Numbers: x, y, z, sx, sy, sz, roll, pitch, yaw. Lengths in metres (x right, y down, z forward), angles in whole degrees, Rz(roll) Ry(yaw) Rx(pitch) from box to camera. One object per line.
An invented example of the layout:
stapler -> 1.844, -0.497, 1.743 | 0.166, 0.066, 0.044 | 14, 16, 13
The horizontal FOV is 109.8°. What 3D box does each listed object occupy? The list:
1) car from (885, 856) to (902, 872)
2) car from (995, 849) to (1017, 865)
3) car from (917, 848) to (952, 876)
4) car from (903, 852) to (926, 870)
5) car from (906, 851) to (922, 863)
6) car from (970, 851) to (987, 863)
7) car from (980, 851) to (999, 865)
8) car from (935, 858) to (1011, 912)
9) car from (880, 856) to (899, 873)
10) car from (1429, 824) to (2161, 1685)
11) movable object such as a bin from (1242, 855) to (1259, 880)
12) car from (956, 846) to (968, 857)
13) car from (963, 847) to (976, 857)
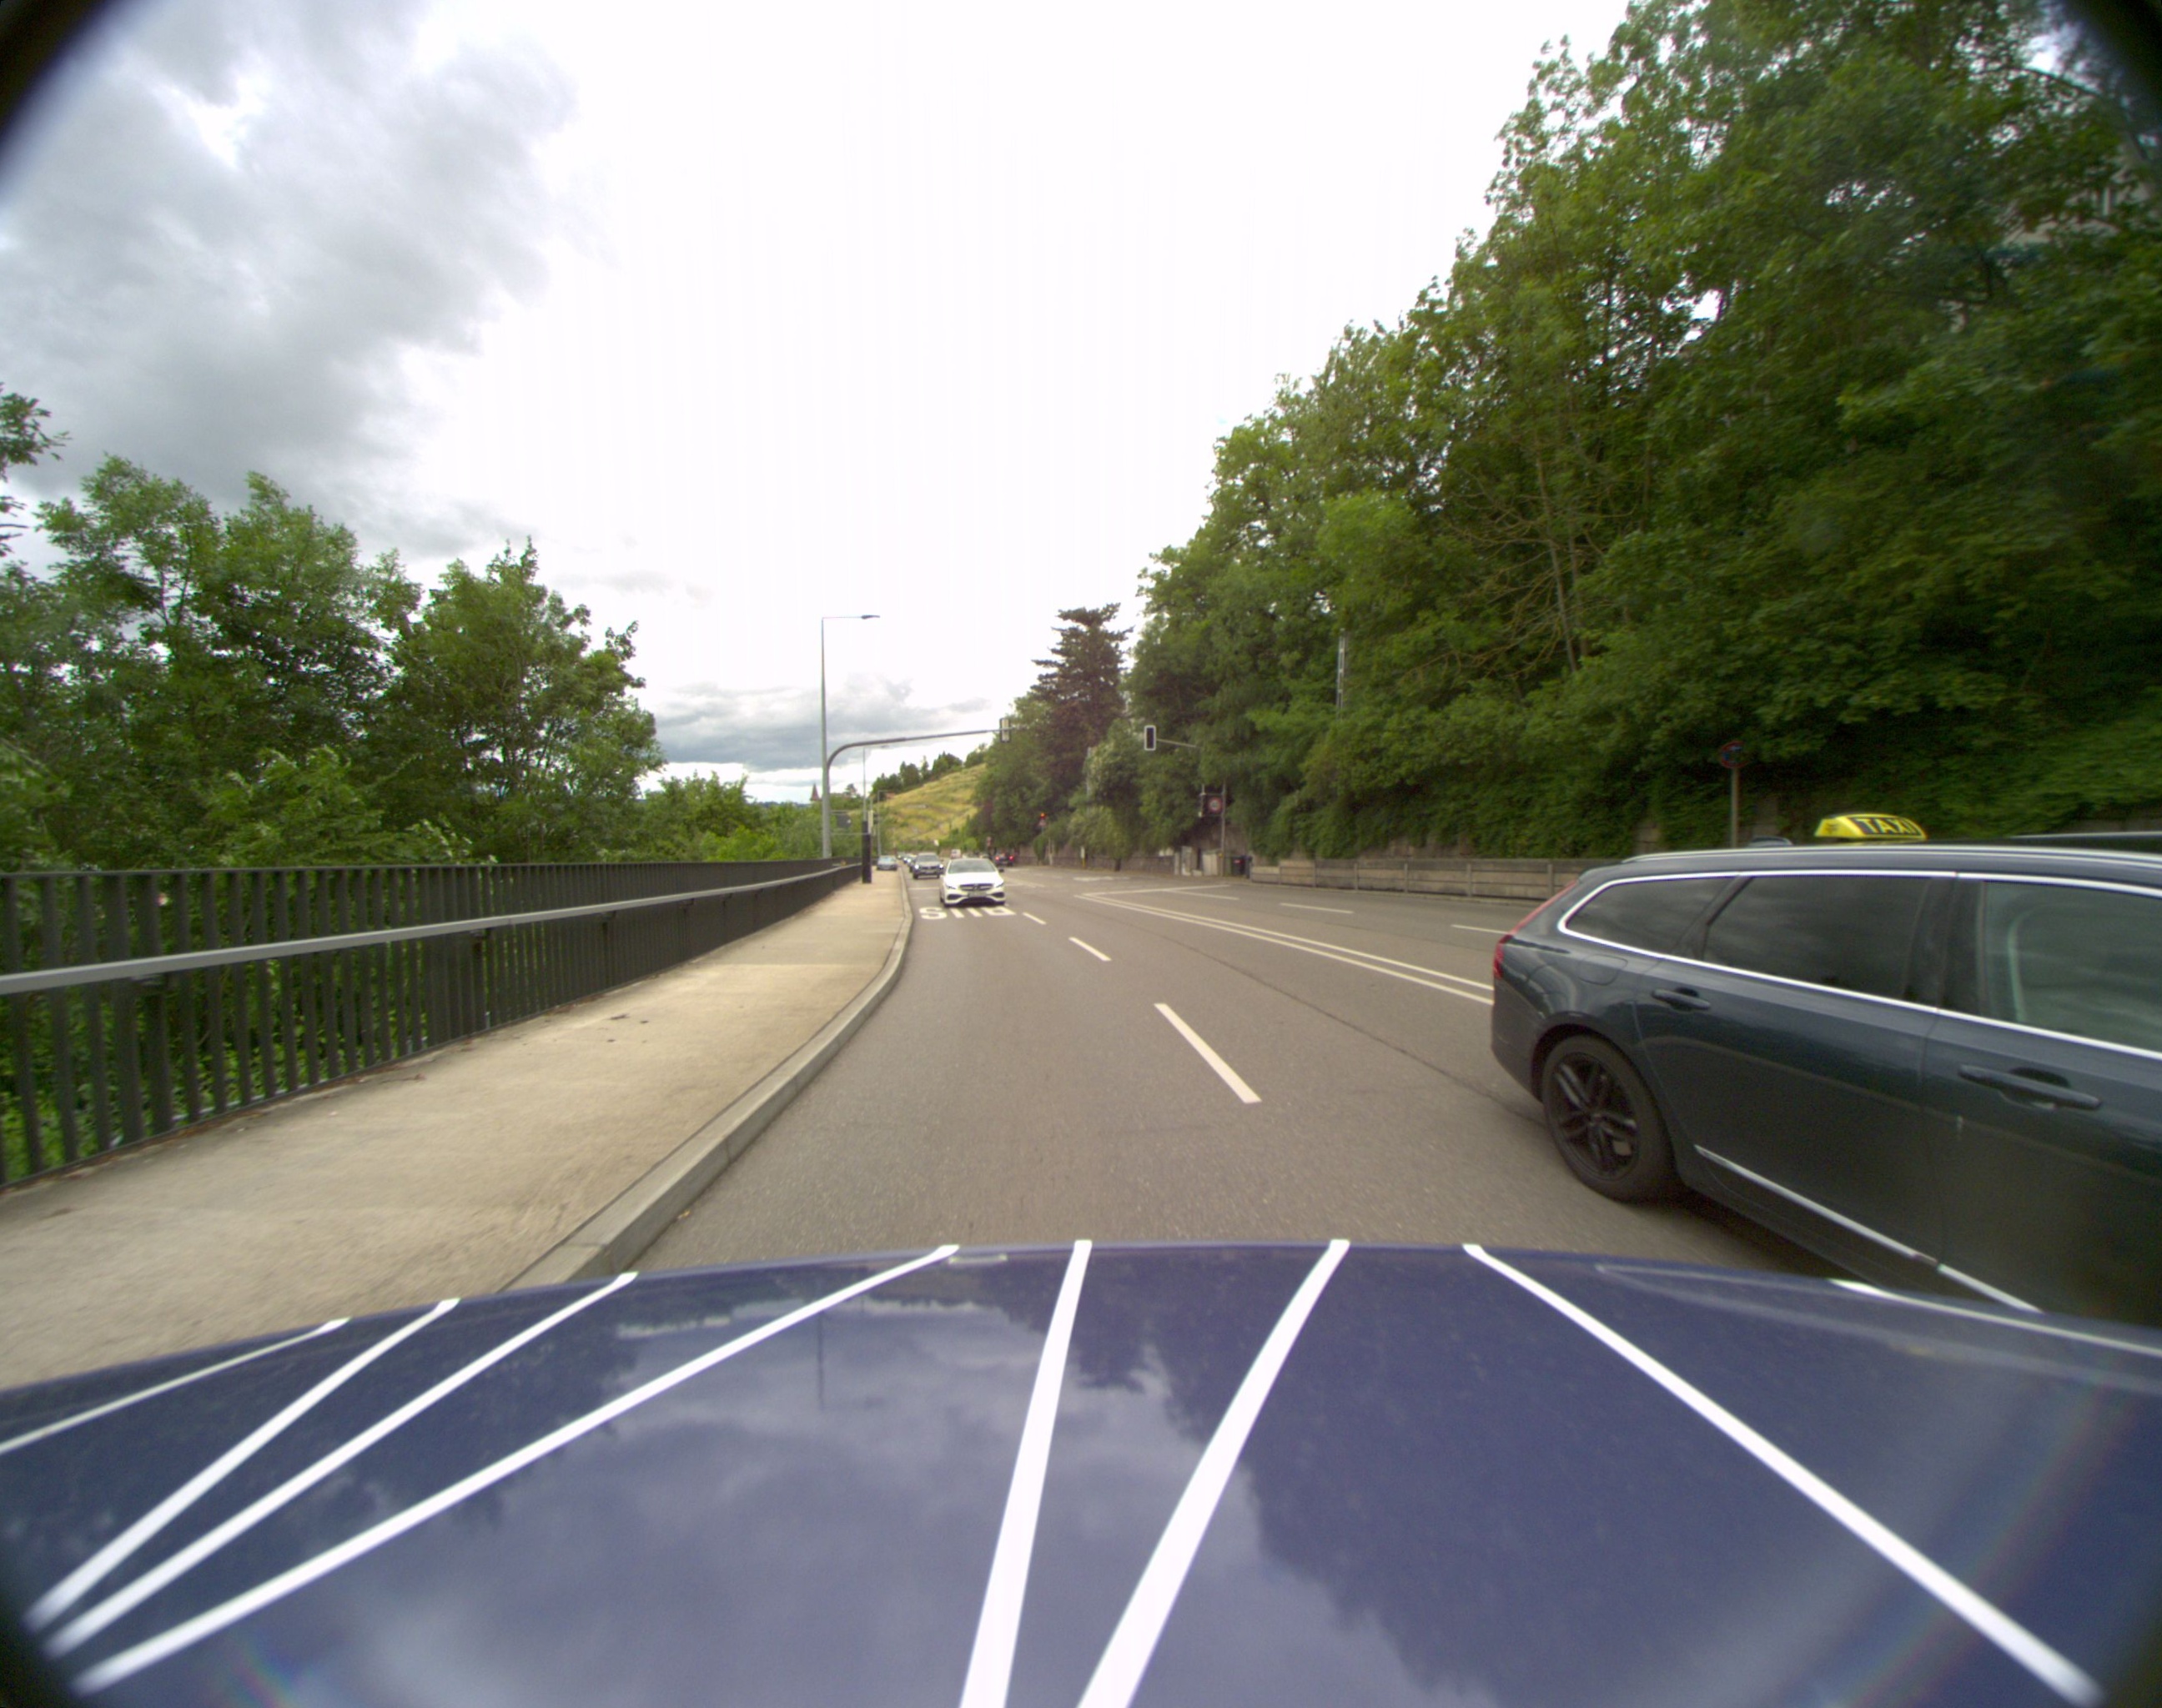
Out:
car -> -19.666, 1.007, 79.872 | 1.733, 1.559, 4.618 | -1, 1, -13
car -> -7.765, 0.305, 78.311 | 1.819, 1.426, 4.243 | -4, 1, -12
car -> -9.399, 0.476, 48.524 | 2.000, 1.580, 3.995 | -4, 1, -12
car -> -15.054, 0.627, 68.720 | 2.001, 1.574, 3.995 | -1, 0, -13
car -> -22.379, 0.384, 101.838 | 2.001, 1.574, 3.995 | -1, 0, -13
car -> -14.828, 0.416, 109.893 | 1.949, 1.540, 4.243 | -1, 1, -13
car -> -11.276, 0.497, 93.722 | 1.787, 1.473, 4.206 | -4, 0, -13
car -> -3.445, 0.910, 23.513 | 1.905, 1.418, 4.261 | -3, 0, -13
car -> -18.432, 0.955, 73.261 | 1.763, 1.535, 4.421 | 1, 0, -13
car -> 2.979, 0.745, 1.540 | 1.940, 1.567, 5.024 | -3, 1, -3
movable object such as a bin -> 6.647, 0.519, 29.796 | 0.428, 0.945, 0.478 | -4, 2, -14
car -> -24.156, -0.493, 153.649 | 1.928, 1.993, 5.349 | -2, 1, -13
car -> -17.993, -0.308, 122.699 | 1.681, 1.434, 4.231 | -4, 0, -5
